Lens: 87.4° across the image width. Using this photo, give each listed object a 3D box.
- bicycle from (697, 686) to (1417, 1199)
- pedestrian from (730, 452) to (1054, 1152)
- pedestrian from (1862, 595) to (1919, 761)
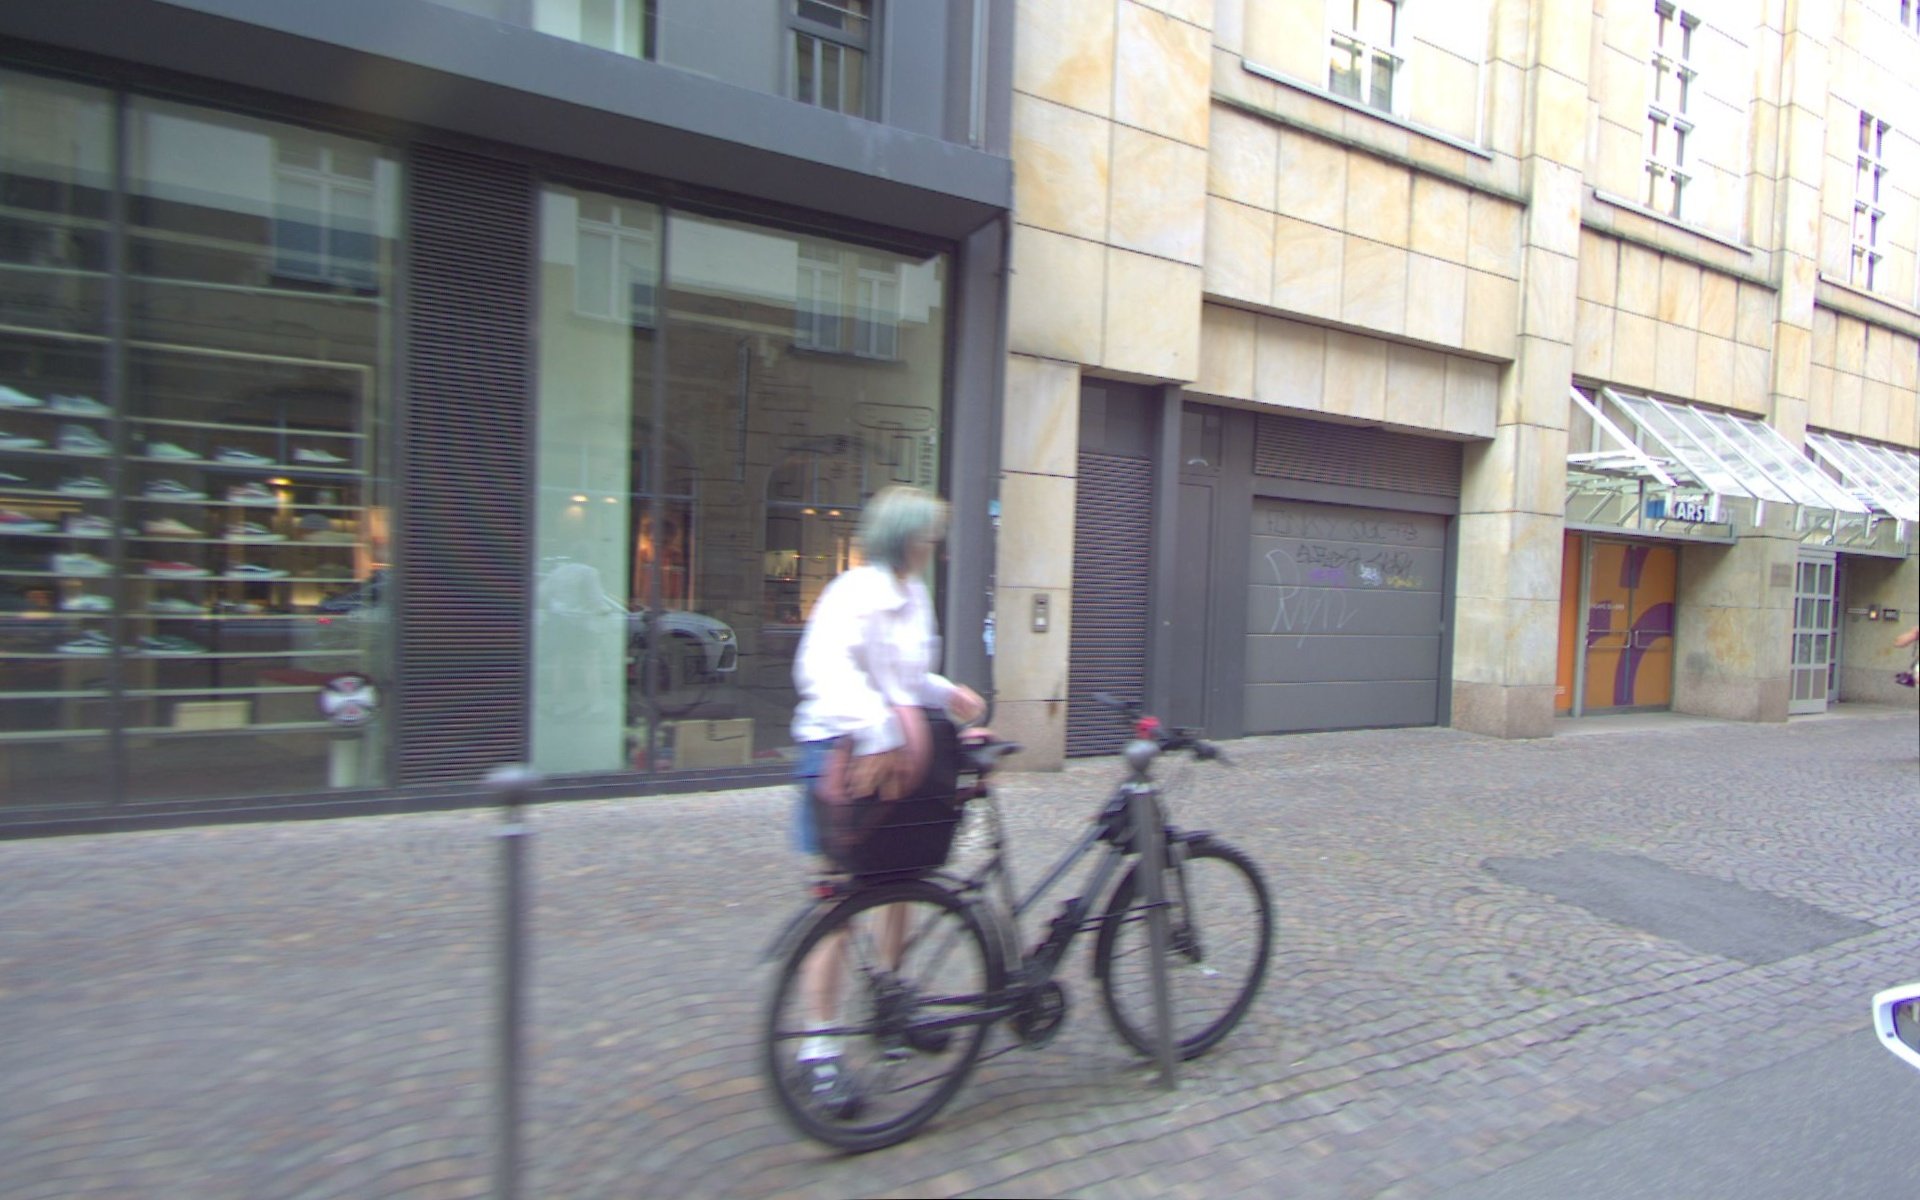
[{"bbox_3d":[0.323,0.865,2.680,1.890,1.169,0.530,1,3,-28],"label":"bicycle"},{"bbox_3d":[-0.167,0.505,2.824,0.755,1.742,0.592,3,3,2],"label":"pedestrian"},{"bbox_3d":[10.185,0.812,10.573,0.848,1.687,0.673,1,1,-23],"label":"pedestrian"}]
